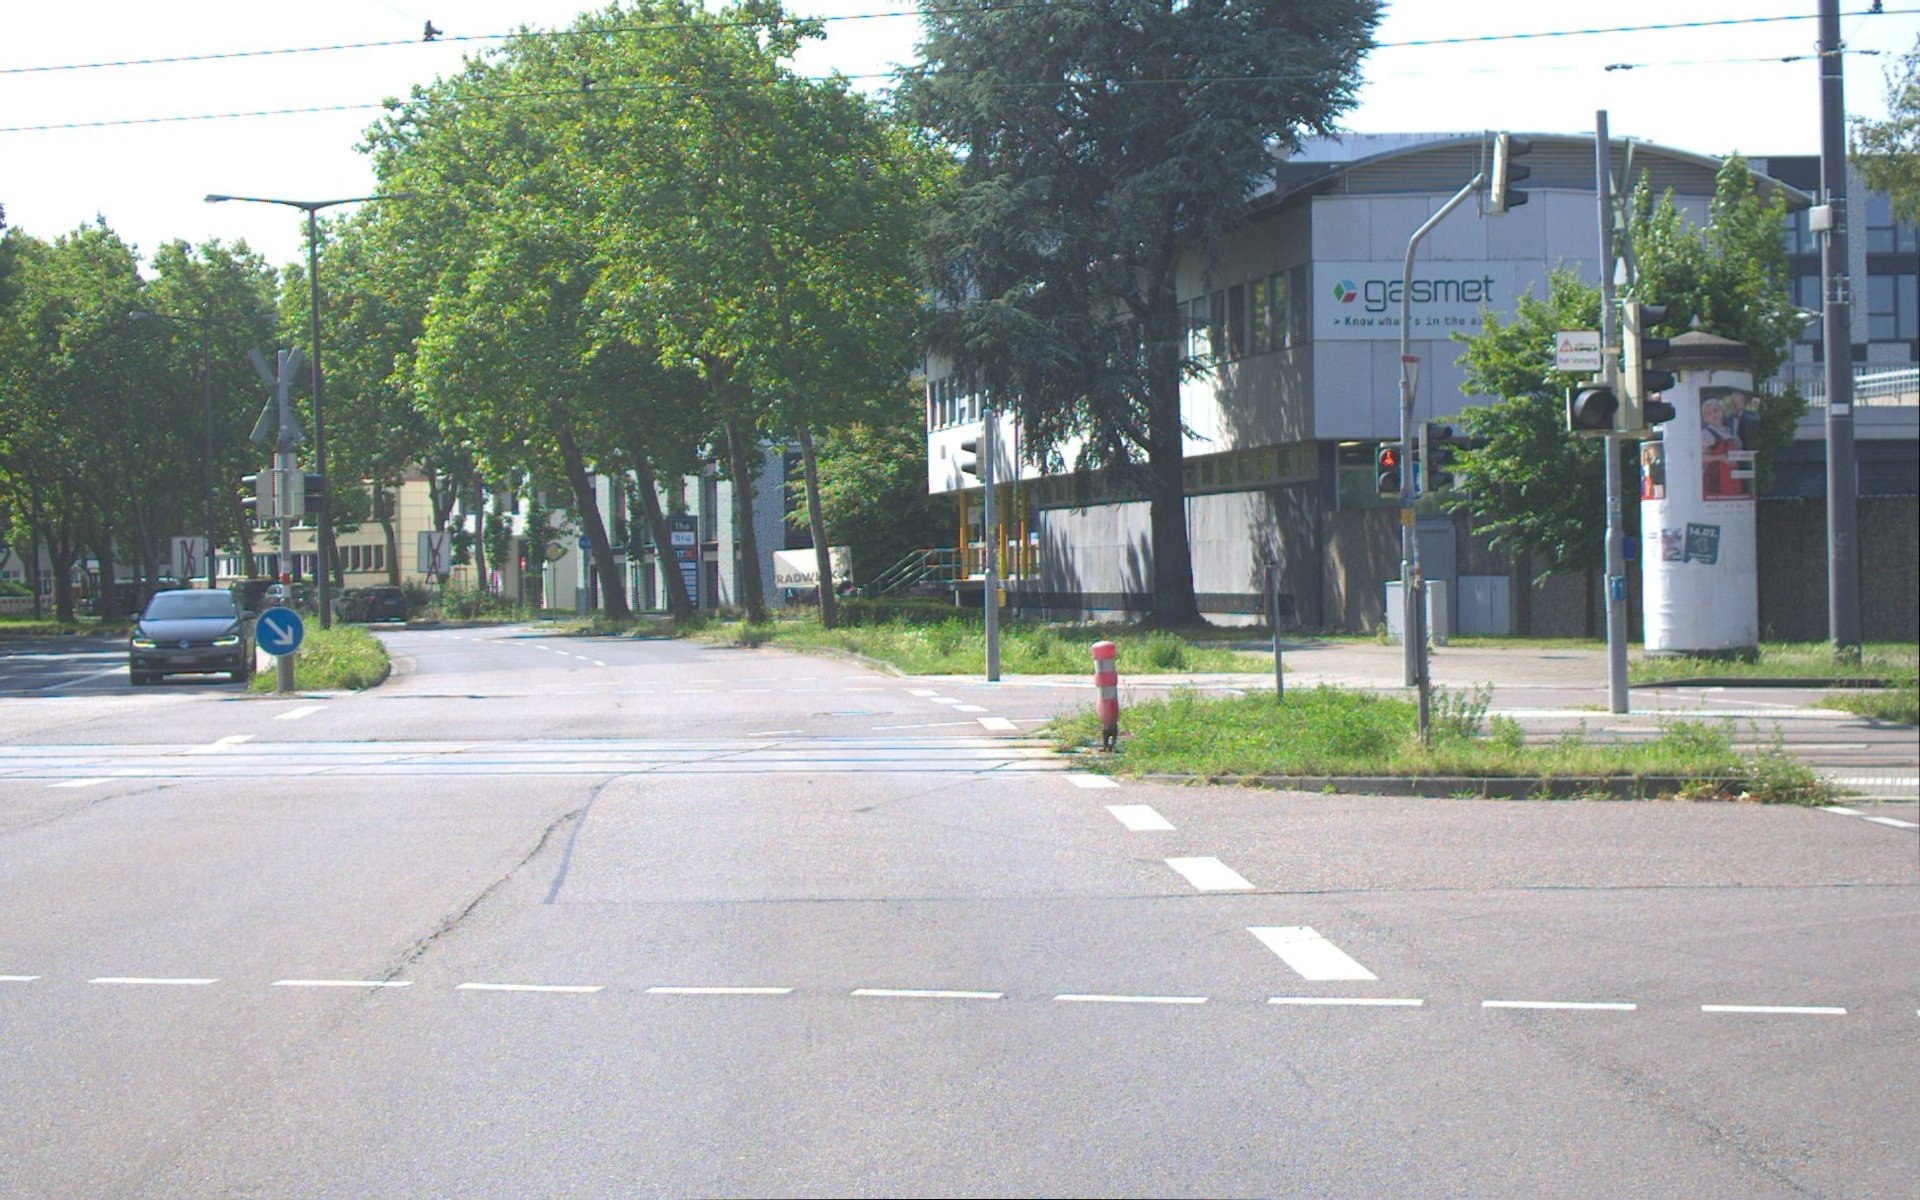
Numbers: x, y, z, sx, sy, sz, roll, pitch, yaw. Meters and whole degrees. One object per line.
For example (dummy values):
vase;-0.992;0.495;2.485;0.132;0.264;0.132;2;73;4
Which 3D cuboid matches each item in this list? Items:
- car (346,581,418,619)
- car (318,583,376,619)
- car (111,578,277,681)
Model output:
car;-24.150;-0.016;143.564;1.706;1.482;4.720;-3;1;-25
car;-26.514;0.030;148.628;1.706;1.482;4.102;-2;1;-21
car;-11.896;0.424;53.617;1.694;1.503;4.130;-1;1;-1
